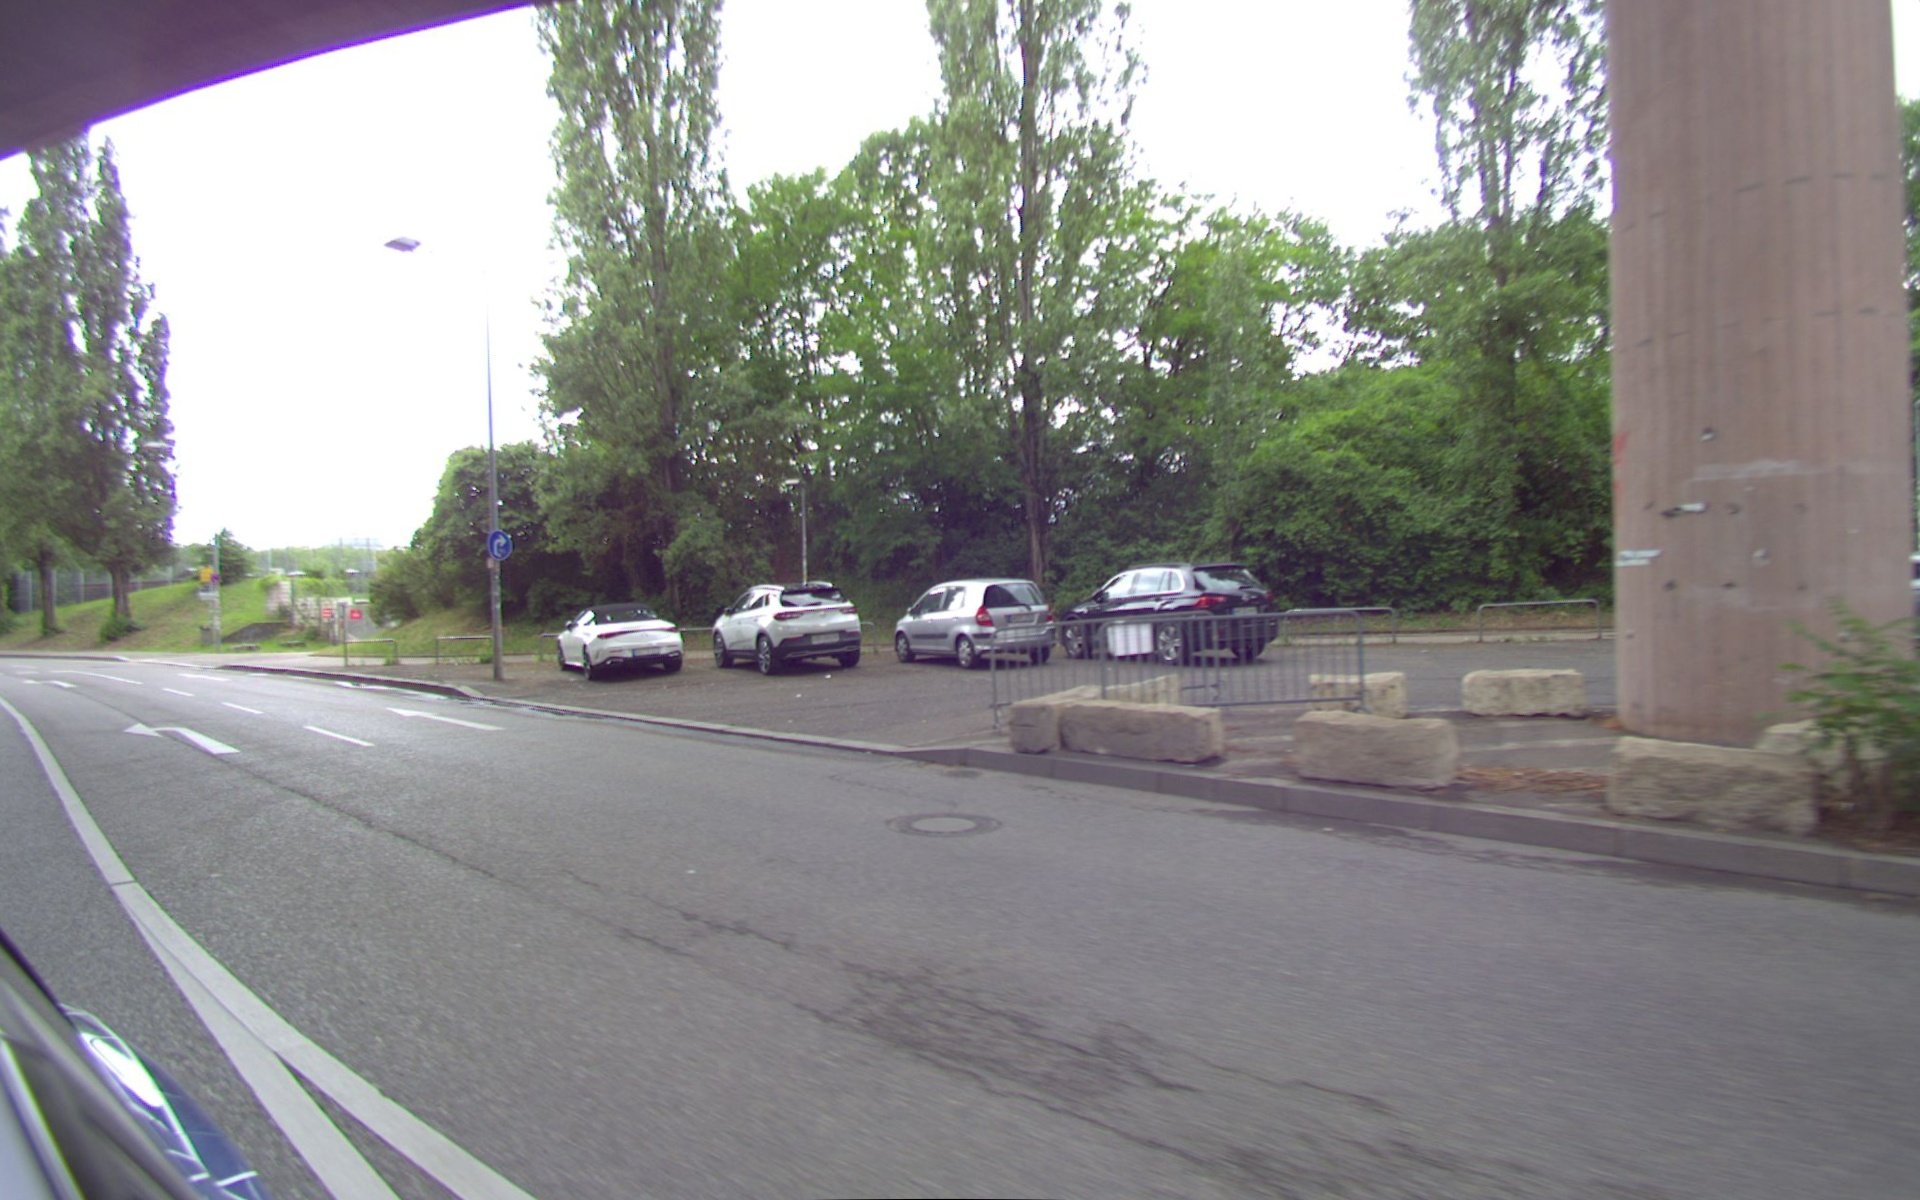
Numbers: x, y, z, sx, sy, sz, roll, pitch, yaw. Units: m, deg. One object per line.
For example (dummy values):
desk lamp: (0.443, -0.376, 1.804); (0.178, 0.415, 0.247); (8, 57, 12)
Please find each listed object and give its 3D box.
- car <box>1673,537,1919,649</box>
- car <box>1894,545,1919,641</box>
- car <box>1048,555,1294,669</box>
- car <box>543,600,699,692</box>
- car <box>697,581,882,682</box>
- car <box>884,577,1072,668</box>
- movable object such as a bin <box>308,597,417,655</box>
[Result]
car: (13.409, -0.131, 14.460); (1.831, 1.499, 4.904); (-4, 0, -29)
car: (16.217, -0.153, 14.586); (1.621, 1.452, 3.744); (0, -2, -34)
car: (3.466, 0.182, 17.428); (1.831, 1.704, 4.177); (-2, 0, -29)
car: (-7.273, 0.850, 21.369); (1.967, 1.490, 4.843); (-5, 4, -32)
car: (-3.462, 0.523, 19.842); (1.967, 1.594, 4.413); (-6, 3, -31)
car: (0.207, 0.388, 18.480); (1.762, 1.465, 3.758); (-1, 0, -29)
movable object such as a bin: (-29.460, 1.286, 50.000); (4.170, 2.743, 2.028); (-1, -2, -1)
